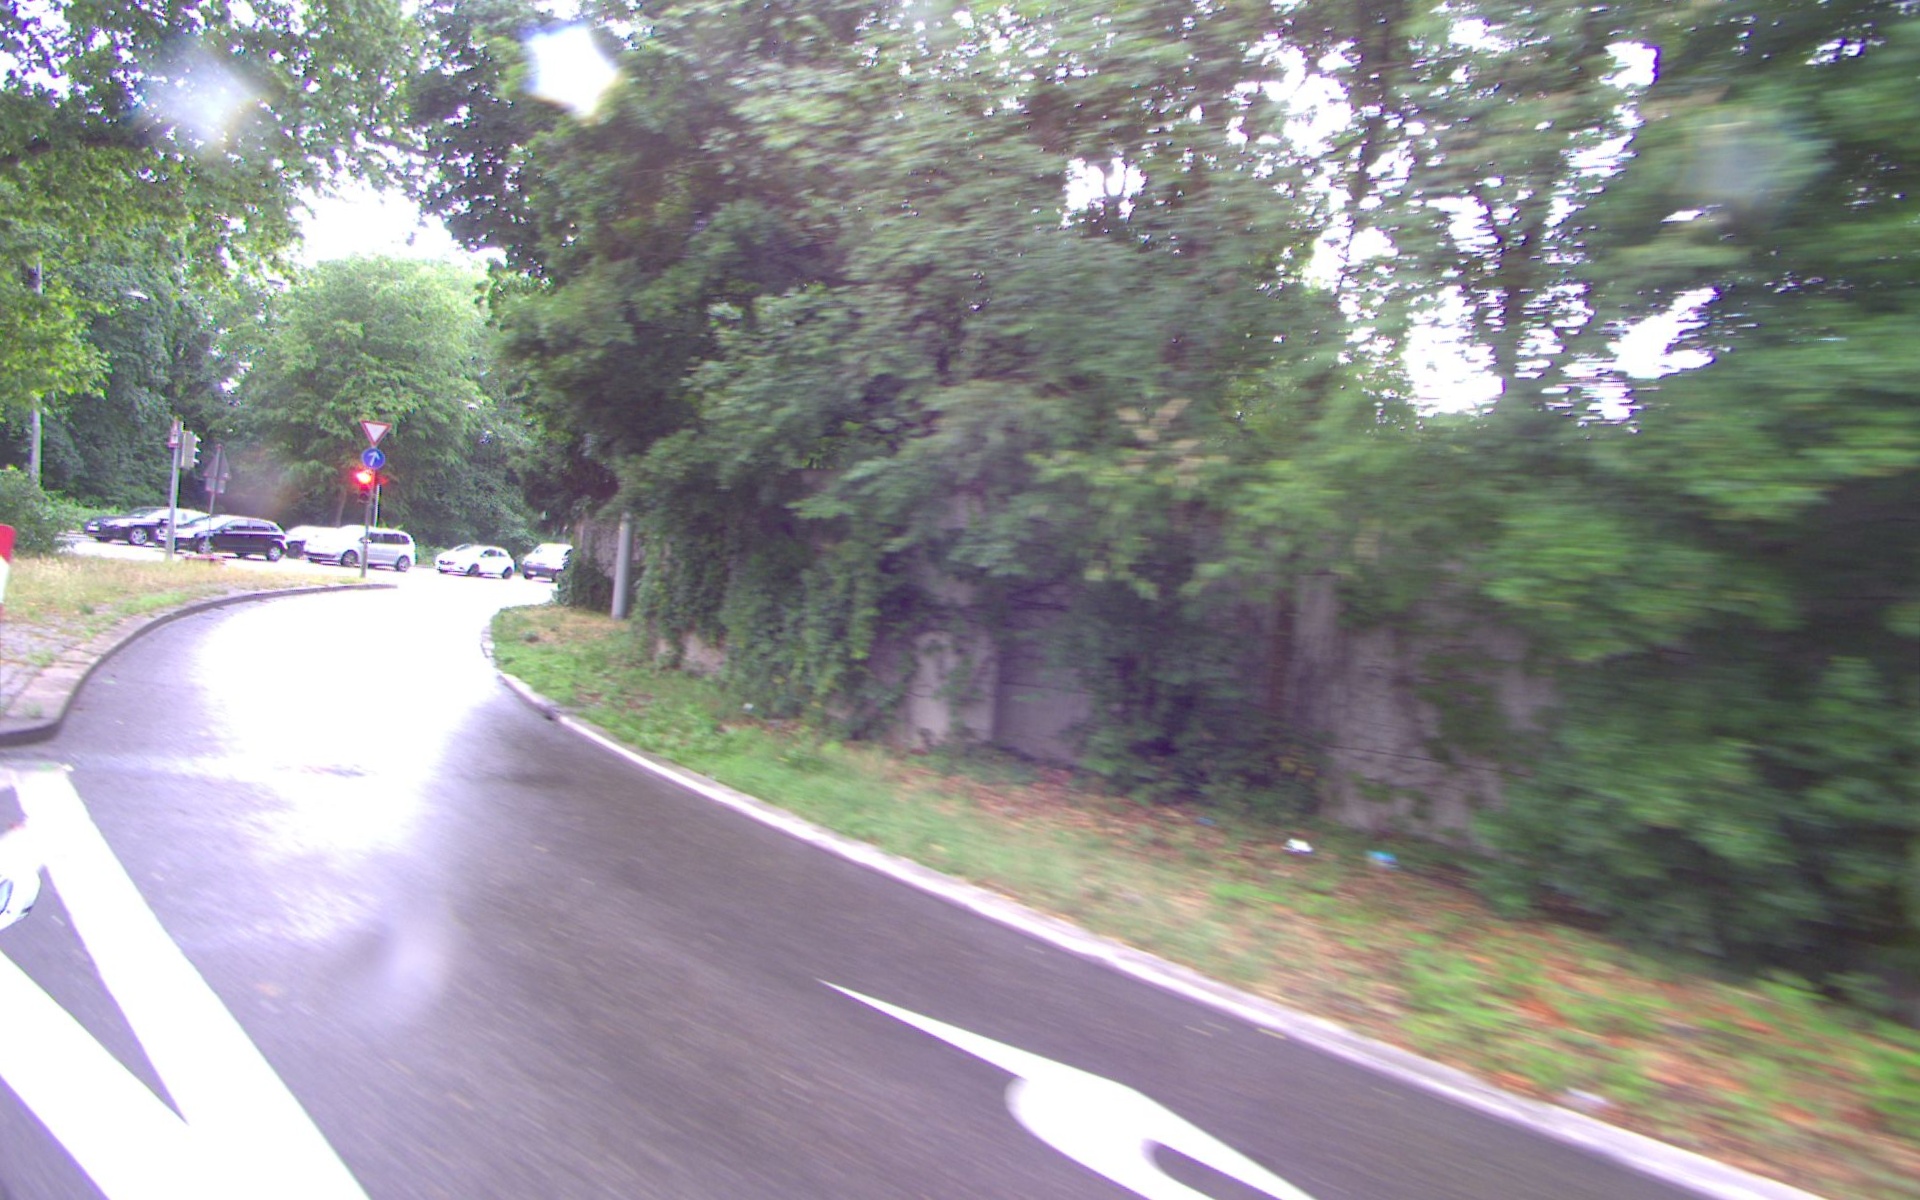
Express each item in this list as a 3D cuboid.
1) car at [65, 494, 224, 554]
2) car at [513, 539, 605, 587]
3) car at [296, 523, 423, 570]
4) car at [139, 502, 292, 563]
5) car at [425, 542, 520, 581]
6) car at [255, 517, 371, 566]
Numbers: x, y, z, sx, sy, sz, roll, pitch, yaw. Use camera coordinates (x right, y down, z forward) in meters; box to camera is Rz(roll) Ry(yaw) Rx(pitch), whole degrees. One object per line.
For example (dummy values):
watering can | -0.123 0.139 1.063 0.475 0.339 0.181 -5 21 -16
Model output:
car | -28.686 -2.644 35.549 1.843 1.504 4.002 7 -1 13
car | -20.850 -1.882 52.526 1.872 1.946 4.862 7 0 13
car | -23.898 -2.097 40.210 1.740 1.505 4.271 6 1 15
car | -25.197 -2.244 34.197 1.641 1.503 3.868 6 -1 17
car | -22.492 -1.759 46.586 1.740 1.505 3.998 6 1 13
car | -26.676 -2.393 41.625 1.712 1.504 3.837 7 0 13
